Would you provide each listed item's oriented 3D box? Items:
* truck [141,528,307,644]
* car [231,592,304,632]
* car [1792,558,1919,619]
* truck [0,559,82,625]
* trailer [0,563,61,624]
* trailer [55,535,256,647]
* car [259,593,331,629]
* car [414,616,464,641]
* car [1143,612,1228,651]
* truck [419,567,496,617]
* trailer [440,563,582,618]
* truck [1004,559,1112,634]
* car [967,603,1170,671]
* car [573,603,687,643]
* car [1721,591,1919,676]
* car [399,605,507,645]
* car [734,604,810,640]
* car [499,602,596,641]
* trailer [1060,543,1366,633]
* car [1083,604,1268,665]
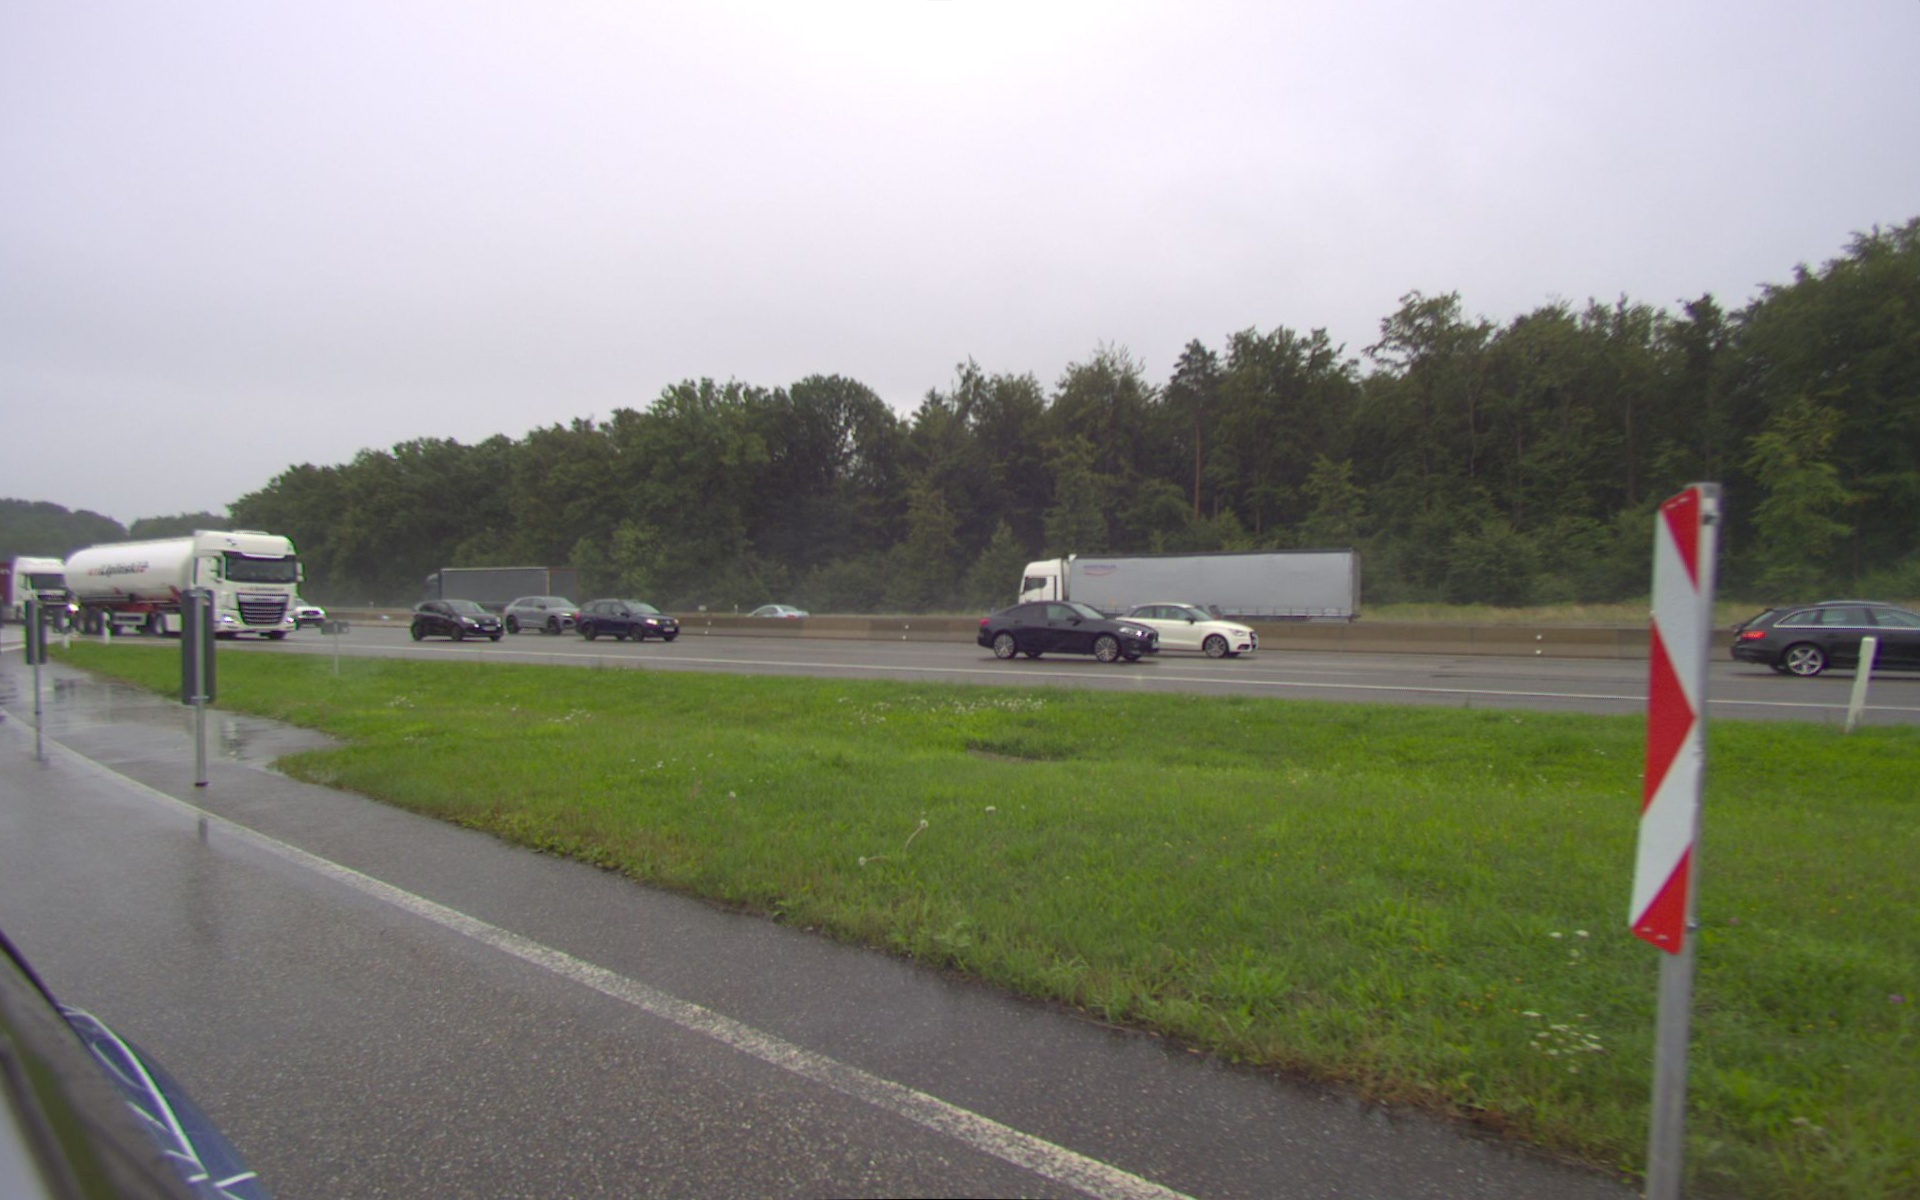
[{"bbox_3d":[-27.620,-0.442,37.924,6.485,4.039,2.730,-1,-1,31],"label":"truck"},{"bbox_3d":[-35.868,0.608,52.402,3.991,2.029,1.841,0,0,36],"label":"car"},{"bbox_3d":[25.982,-0.353,28.432,3.706,1.374,1.632,-4,4,30],"label":"car"},{"bbox_3d":[-54.850,-0.494,60.007,5.309,3.683,2.669,0,3,33],"label":"truck"},{"bbox_3d":[-61.884,-0.395,64.538,15.078,3.530,2.663,0,3,33],"label":"trailer"},{"bbox_3d":[-32.709,-0.260,40.941,11.002,4.056,2.742,-1,-1,31],"label":"trailer"},{"bbox_3d":[-38.141,0.621,58.011,3.987,2.029,1.978,-1,0,32],"label":"car"},{"bbox_3d":[-35.982,1.993,69.913,3.267,1.341,1.400,-5,3,30],"label":"car"},{"bbox_3d":[9.857,1.388,44.308,3.267,1.341,1.400,-5,3,30],"label":"car"},{"bbox_3d":[-40.263,-0.638,81.099,5.627,3.775,3.018,-1,1,33],"label":"truck"},{"bbox_3d":[-34.501,-0.678,77.370,13.368,3.840,3.004,-1,1,33],"label":"trailer"},{"bbox_3d":[5.131,-0.174,52.806,4.744,3.560,2.696,-3,3,31],"label":"truck"},{"bbox_3d":[2.566,0.829,24.170,4.483,1.492,1.868,0,-1,29],"label":"car"},{"bbox_3d":[-12.270,0.862,37.594,4.109,1.425,1.804,-1,-1,32],"label":"car"},{"bbox_3d":[17.662,0.629,19.581,4.513,1.552,1.978,0,-1,32],"label":"car"},{"bbox_3d":[-18.333,0.883,36.557,3.990,1.383,1.802,-1,-1,35],"label":"car"},{"bbox_3d":[-8.972,1.058,48.317,3.386,1.341,1.400,-5,3,30],"label":"car"},{"bbox_3d":[-18.818,0.976,46.123,4.389,1.681,1.804,0,-2,32],"label":"car"},{"bbox_3d":[11.814,-0.473,48.783,14.007,3.564,2.705,-3,3,31],"label":"trailer"},{"bbox_3d":[5.731,0.878,27.080,4.488,1.492,1.866,0,-1,32],"label":"car"}]
